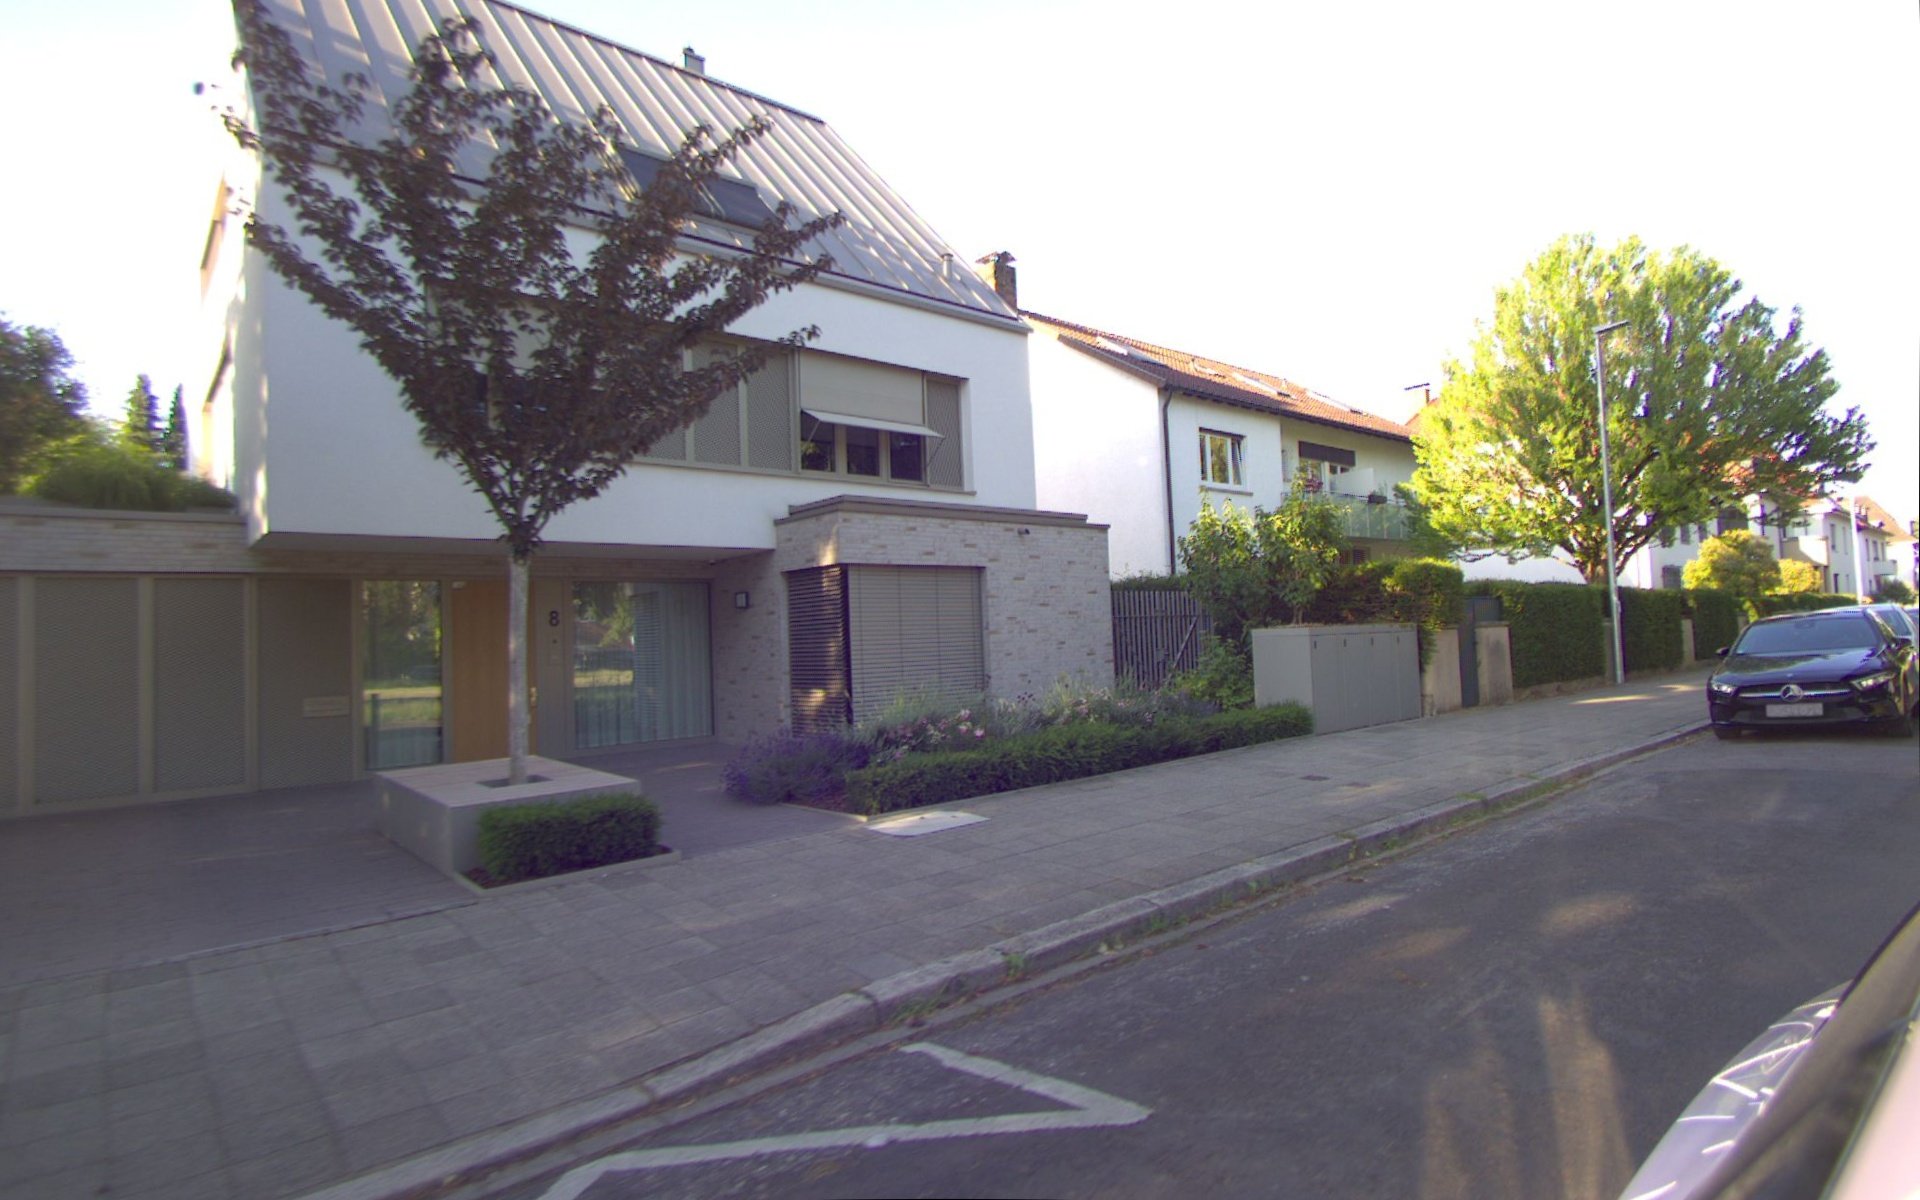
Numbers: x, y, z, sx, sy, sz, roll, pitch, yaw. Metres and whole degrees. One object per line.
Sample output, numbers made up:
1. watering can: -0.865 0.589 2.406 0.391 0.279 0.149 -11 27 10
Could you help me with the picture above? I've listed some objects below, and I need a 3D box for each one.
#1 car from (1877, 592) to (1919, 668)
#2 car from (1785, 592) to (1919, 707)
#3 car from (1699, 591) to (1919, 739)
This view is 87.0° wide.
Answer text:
1. car: 21.864 0.561 22.344 4.594 1.511 1.795 -2 -3 -42
2. car: 14.435 0.711 15.930 3.865 1.503 1.690 -1 -7 -45
3. car: 10.735 0.736 12.502 4.217 1.496 1.749 -1 -5 -44
